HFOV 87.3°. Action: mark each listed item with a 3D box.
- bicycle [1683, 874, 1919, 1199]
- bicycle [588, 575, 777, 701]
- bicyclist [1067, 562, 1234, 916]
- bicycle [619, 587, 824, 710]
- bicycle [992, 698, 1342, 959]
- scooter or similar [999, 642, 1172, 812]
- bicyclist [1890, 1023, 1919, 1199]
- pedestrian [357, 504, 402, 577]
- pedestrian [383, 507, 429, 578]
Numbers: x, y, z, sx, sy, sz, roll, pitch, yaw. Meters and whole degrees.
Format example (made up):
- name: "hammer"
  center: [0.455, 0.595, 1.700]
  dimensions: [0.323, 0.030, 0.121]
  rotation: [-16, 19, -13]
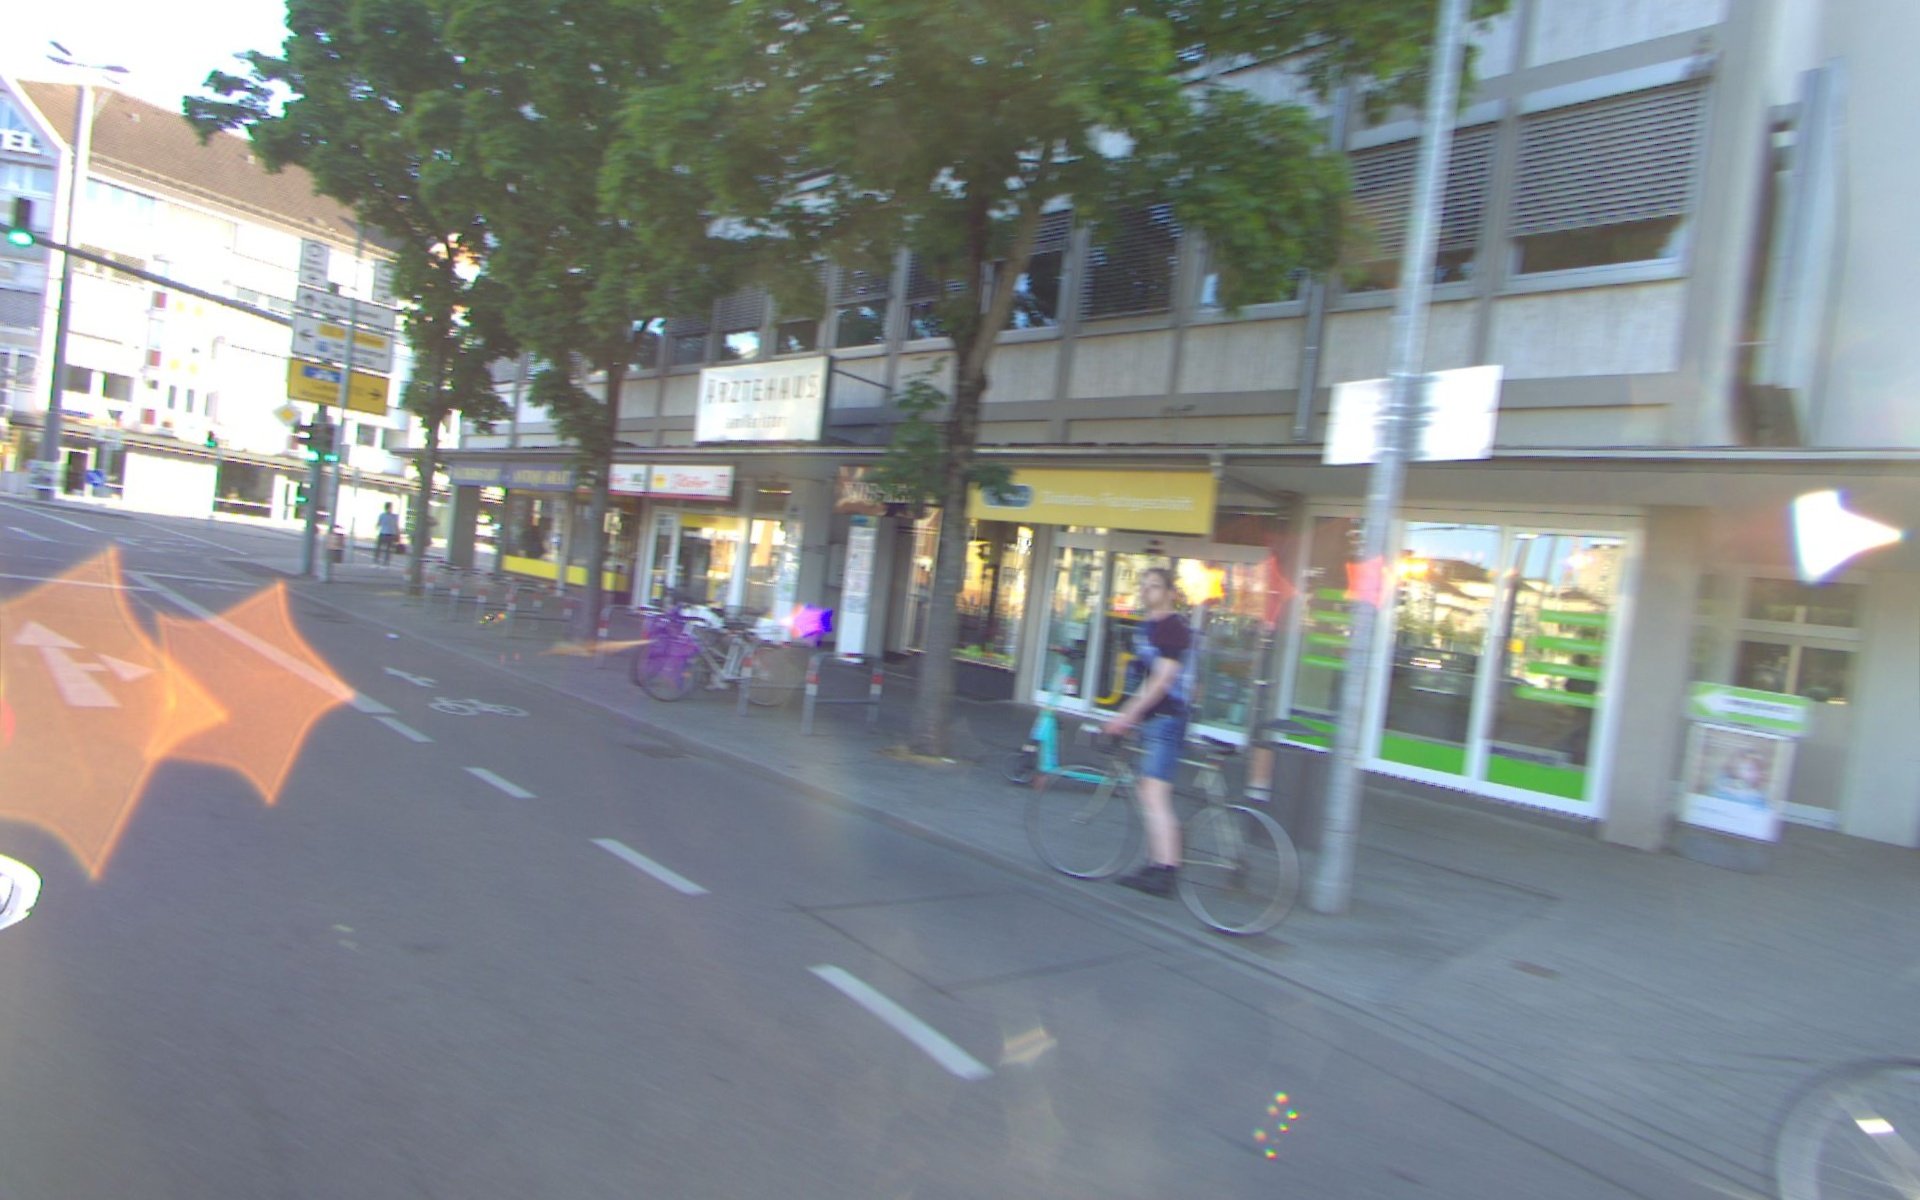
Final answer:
- name: "bicycle"
  center: [3.046, 1.413, 2.299]
  dimensions: [2.038, 1.033, 0.840]
  rotation: [8, 1, 5]
- name: "bicycle"
  center: [-3.212, 0.464, 11.735]
  dimensions: [1.894, 1.251, 0.661]
  rotation: [7, 2, -37]
- name: "bicyclist"
  center: [1.080, 0.754, 5.697]
  dimensions: [0.550, 1.854, 0.464]
  rotation: [9, 2, 34]
- name: "bicycle"
  center: [-2.593, 0.552, 11.044]
  dimensions: [1.985, 1.124, 0.661]
  rotation: [7, 1, -36]
- name: "bicycle"
  center: [1.109, 1.195, 5.653]
  dimensions: [1.771, 0.983, 0.464]
  rotation: [9, 2, 34]
- name: "scooter or similar"
  center: [1.052, 1.067, 8.525]
  dimensions: [1.256, 1.251, 0.338]
  rotation: [8, 2, -7]
- name: "bicyclist"
  center: [3.158, 0.967, 2.273]
  dimensions: [1.094, 1.942, 0.840]
  rotation: [8, 2, 5]
- name: "pedestrian"
  center: [-14.382, -1.480, 24.911]
  dimensions: [0.682, 1.688, 0.662]
  rotation: [6, 2, -45]
- name: "pedestrian"
  center: [-14.164, -1.473, 25.721]
  dimensions: [0.721, 1.688, 0.662]
  rotation: [6, 2, -45]
